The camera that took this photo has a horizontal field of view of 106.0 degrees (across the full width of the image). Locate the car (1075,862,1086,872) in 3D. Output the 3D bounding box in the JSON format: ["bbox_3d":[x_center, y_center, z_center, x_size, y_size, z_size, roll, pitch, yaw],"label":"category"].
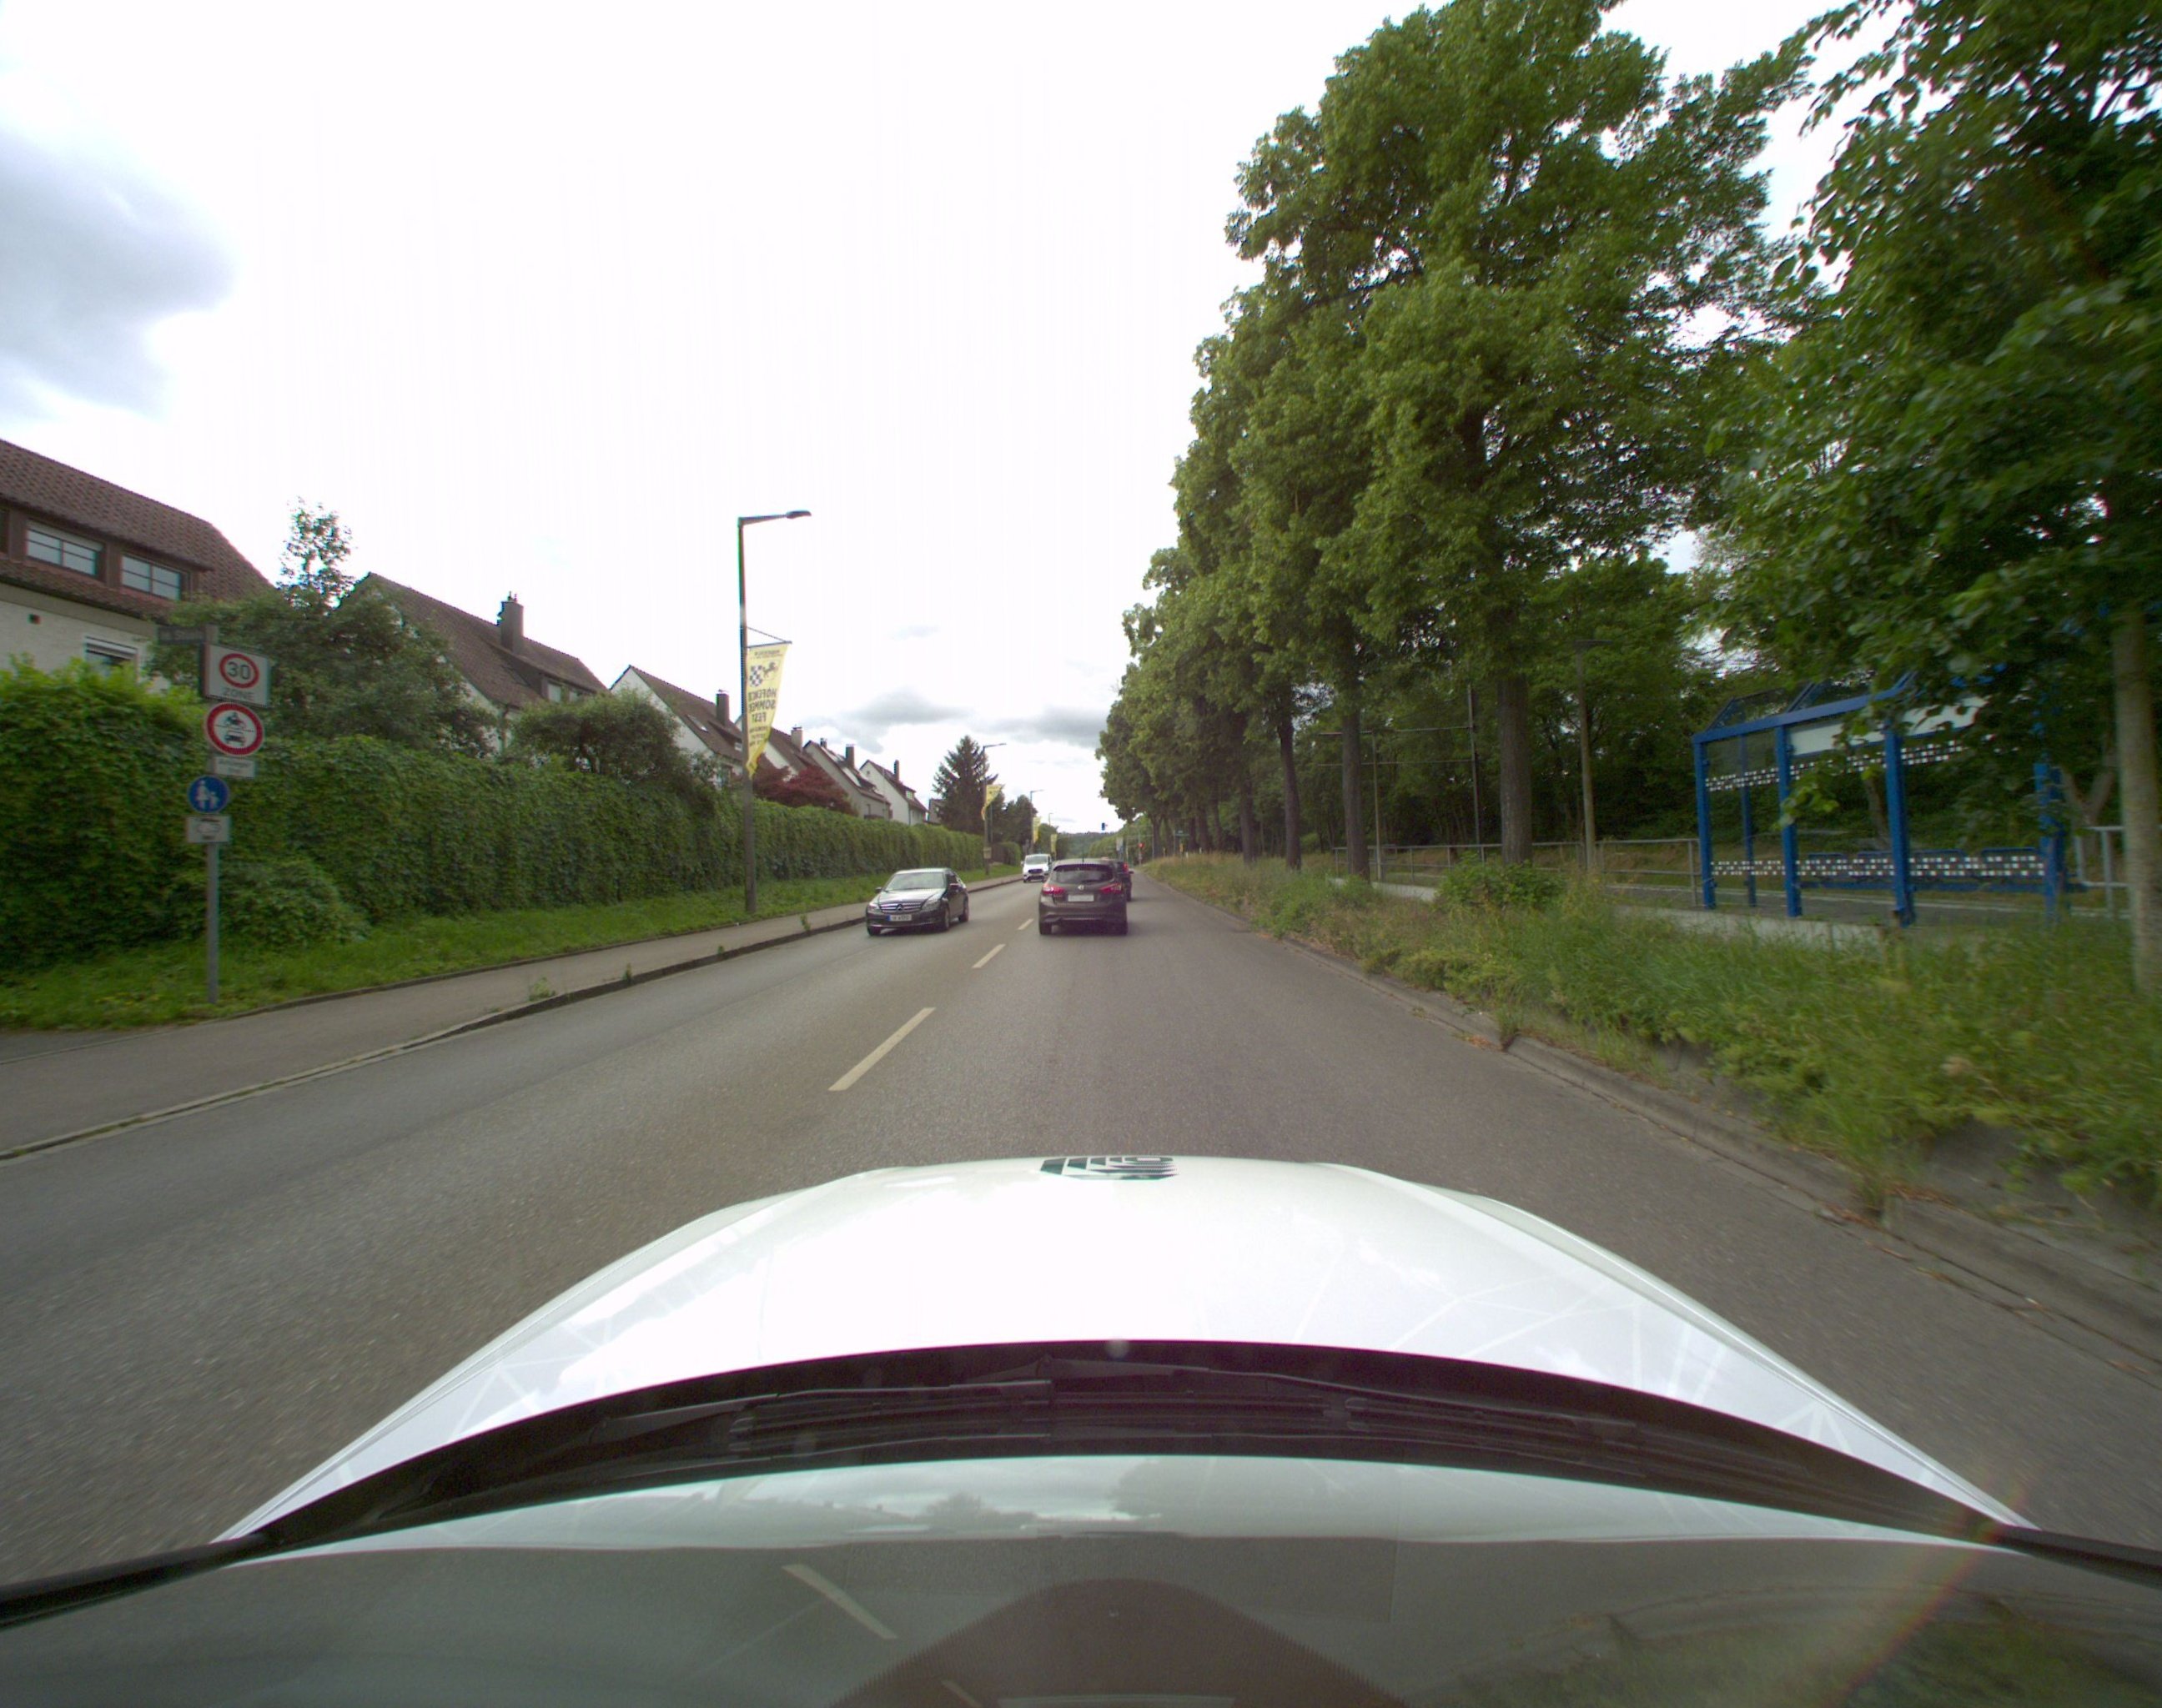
[{"bbox_3d":[-0.063,2.071,129.622,1.722,1.464,4.154,-3,0,1],"label":"car"}]

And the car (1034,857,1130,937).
[{"bbox_3d":[0.094,0.829,17.828,1.828,1.519,4.484,0,0,2],"label":"car"}]

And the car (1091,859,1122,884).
[{"bbox_3d":[1.581,1.030,50.032,1.785,1.397,4.001,-2,0,2],"label":"car"}]

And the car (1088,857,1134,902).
[{"bbox_3d":[1.098,0.889,29.839,1.533,1.478,3.765,-2,0,2],"label":"car"}]

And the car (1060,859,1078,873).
[{"bbox_3d":[-1.284,1.271,89.792,1.880,1.383,4.490,-3,0,0],"label":"car"}]

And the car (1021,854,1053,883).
[{"bbox_3d":[-3.143,1.014,59.405,1.900,1.932,4.912,-3,0,1],"label":"car"}]

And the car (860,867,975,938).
[{"bbox_3d":[-3.753,1.056,19.426,1.726,1.375,4.240,-3,0,1],"label":"car"}]

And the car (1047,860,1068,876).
[{"bbox_3d":[-2.166,1.325,76.549,1.645,1.348,4.479,-3,0,1],"label":"car"}]
